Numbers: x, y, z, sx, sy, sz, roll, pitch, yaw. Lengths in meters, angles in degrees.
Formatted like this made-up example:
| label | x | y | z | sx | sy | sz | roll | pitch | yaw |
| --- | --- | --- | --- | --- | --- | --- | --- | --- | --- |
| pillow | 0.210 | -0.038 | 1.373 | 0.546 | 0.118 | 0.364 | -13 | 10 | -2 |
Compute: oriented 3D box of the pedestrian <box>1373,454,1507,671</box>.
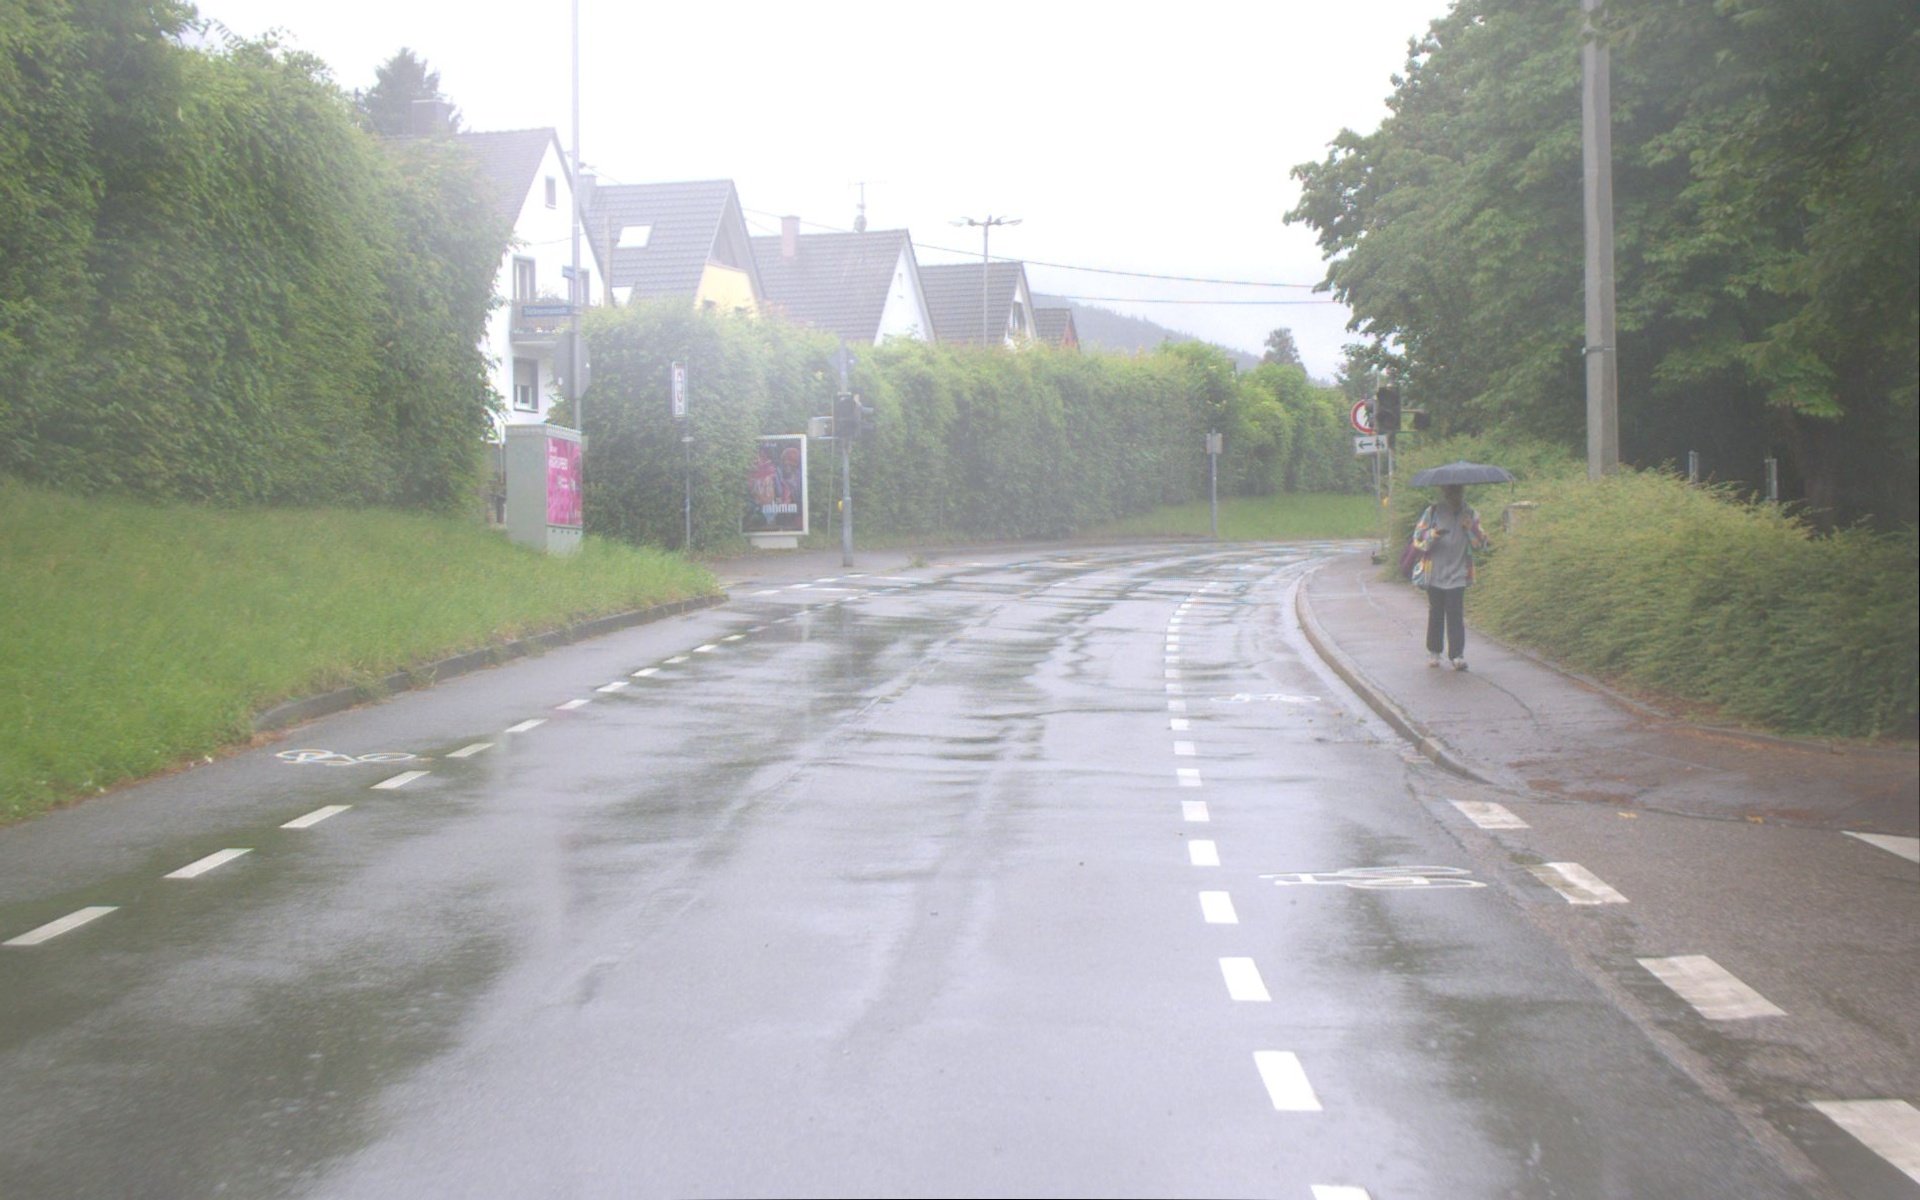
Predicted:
| label | x | y | z | sx | sy | sz | roll | pitch | yaw |
| --- | --- | --- | --- | --- | --- | --- | --- | --- | --- |
| pedestrian | 3.818 | -0.311 | 27.409 | 0.920 | 1.669 | 1.057 | -2 | 2 | 3 |
